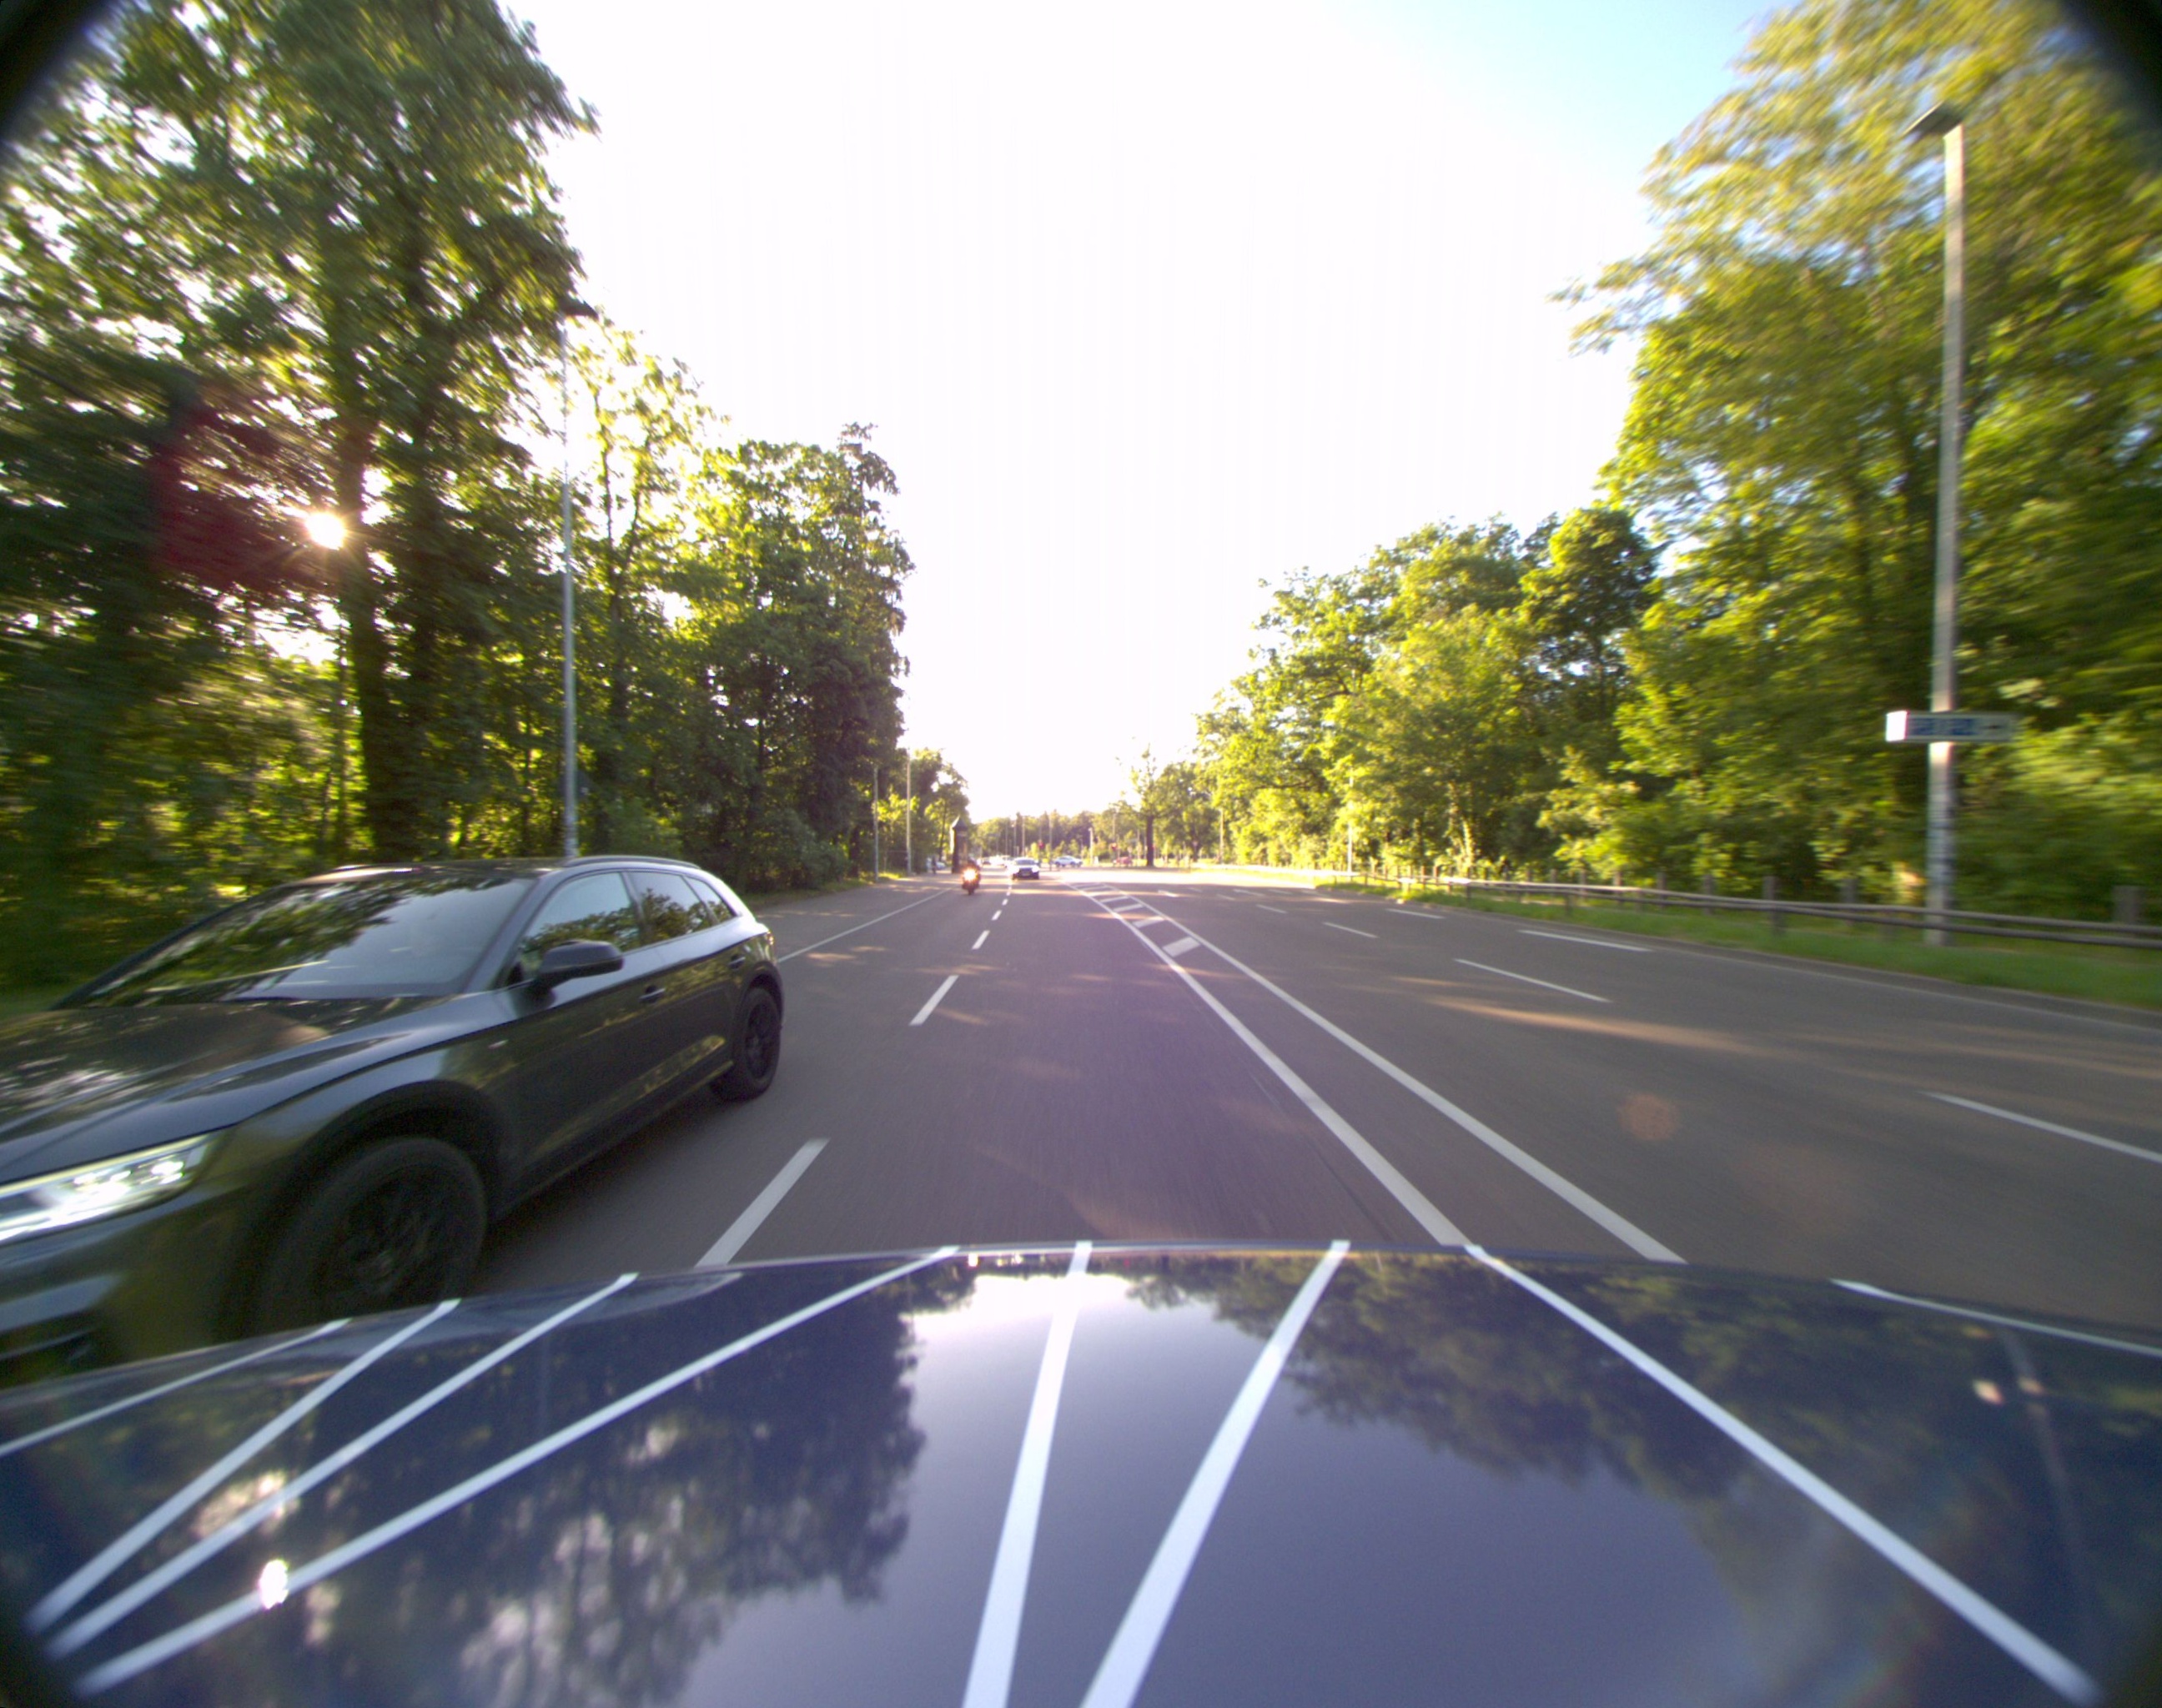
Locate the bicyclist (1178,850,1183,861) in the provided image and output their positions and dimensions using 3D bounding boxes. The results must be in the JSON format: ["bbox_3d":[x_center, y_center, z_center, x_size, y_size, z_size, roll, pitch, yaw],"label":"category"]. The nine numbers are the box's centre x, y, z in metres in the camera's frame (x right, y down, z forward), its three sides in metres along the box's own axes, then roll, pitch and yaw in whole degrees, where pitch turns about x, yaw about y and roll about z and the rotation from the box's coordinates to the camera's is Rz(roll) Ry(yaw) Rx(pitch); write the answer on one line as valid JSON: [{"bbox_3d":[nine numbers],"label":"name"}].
[{"bbox_3d":[13.451,0.197,102.449,0.529,1.392,0.519,-2,1,-2],"label":"bicyclist"}]

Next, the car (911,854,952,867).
[{"bbox_3d":[-17.712,0.778,90.098,4.382,1.370,1.820,1,1,1],"label":"car"}]

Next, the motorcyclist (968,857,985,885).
[{"bbox_3d":[-4.726,0.763,34.372,0.672,1.257,0.825,-2,1,-8],"label":"motorcyclist"}]

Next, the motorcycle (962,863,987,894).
[{"bbox_3d":[-4.650,1.034,33.422,0.916,1.243,2.961,-2,0,-6],"label":"motorcycle"}]

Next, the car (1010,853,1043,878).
[{"bbox_3d":[-3.785,0.752,52.235,1.868,1.538,4.792,-1,0,-9],"label":"car"}]

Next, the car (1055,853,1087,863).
[{"bbox_3d":[-1.476,0.597,113.148,4.289,1.504,1.843,-1,1,25],"label":"car"}]

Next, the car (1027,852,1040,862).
[{"bbox_3d":[-7.419,0.429,117.797,1.662,1.418,4.315,-1,0,-8],"label":"car"}]

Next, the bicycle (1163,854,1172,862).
[{"bbox_3d":[12.140,0.563,106.463,0.680,1.147,1.987,-2,-1,20],"label":"bicycle"}]

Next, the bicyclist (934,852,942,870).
[{"bbox_3d":[-11.913,0.564,63.304,0.522,1.460,0.860,-3,1,-8],"label":"bicyclist"}]

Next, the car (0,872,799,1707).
[{"bbox_3d":[-3.091,0.971,3.435,1.898,1.596,4.544,-2,0,0],"label":"car"}]

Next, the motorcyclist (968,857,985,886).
[{"bbox_3d":[-4.615,0.767,33.510,0.672,1.257,0.825,-2,1,-8],"label":"motorcyclist"}]

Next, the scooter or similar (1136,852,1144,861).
[{"bbox_3d":[7.559,0.350,97.478,1.070,1.140,0.394,0,0,1],"label":"scooter or similar"}]

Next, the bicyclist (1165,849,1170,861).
[{"bbox_3d":[12.078,0.131,106.333,0.563,1.542,0.801,-2,-2,19],"label":"bicyclist"}]

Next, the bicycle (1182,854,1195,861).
[{"bbox_3d":[14.832,0.517,105.090,1.586,0.971,0.786,-1,1,29],"label":"bicycle"}]

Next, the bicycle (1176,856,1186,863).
[{"bbox_3d":[13.485,0.725,102.466,1.355,0.971,0.522,-2,1,-3],"label":"bicycle"}]

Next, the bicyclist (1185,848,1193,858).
[{"bbox_3d":[14.960,-0.142,104.996,0.798,1.474,0.731,-1,1,29],"label":"bicyclist"}]

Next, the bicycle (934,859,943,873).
[{"bbox_3d":[-11.909,0.975,63.434,0.556,1.131,1.862,-3,1,-8],"label":"bicycle"}]
